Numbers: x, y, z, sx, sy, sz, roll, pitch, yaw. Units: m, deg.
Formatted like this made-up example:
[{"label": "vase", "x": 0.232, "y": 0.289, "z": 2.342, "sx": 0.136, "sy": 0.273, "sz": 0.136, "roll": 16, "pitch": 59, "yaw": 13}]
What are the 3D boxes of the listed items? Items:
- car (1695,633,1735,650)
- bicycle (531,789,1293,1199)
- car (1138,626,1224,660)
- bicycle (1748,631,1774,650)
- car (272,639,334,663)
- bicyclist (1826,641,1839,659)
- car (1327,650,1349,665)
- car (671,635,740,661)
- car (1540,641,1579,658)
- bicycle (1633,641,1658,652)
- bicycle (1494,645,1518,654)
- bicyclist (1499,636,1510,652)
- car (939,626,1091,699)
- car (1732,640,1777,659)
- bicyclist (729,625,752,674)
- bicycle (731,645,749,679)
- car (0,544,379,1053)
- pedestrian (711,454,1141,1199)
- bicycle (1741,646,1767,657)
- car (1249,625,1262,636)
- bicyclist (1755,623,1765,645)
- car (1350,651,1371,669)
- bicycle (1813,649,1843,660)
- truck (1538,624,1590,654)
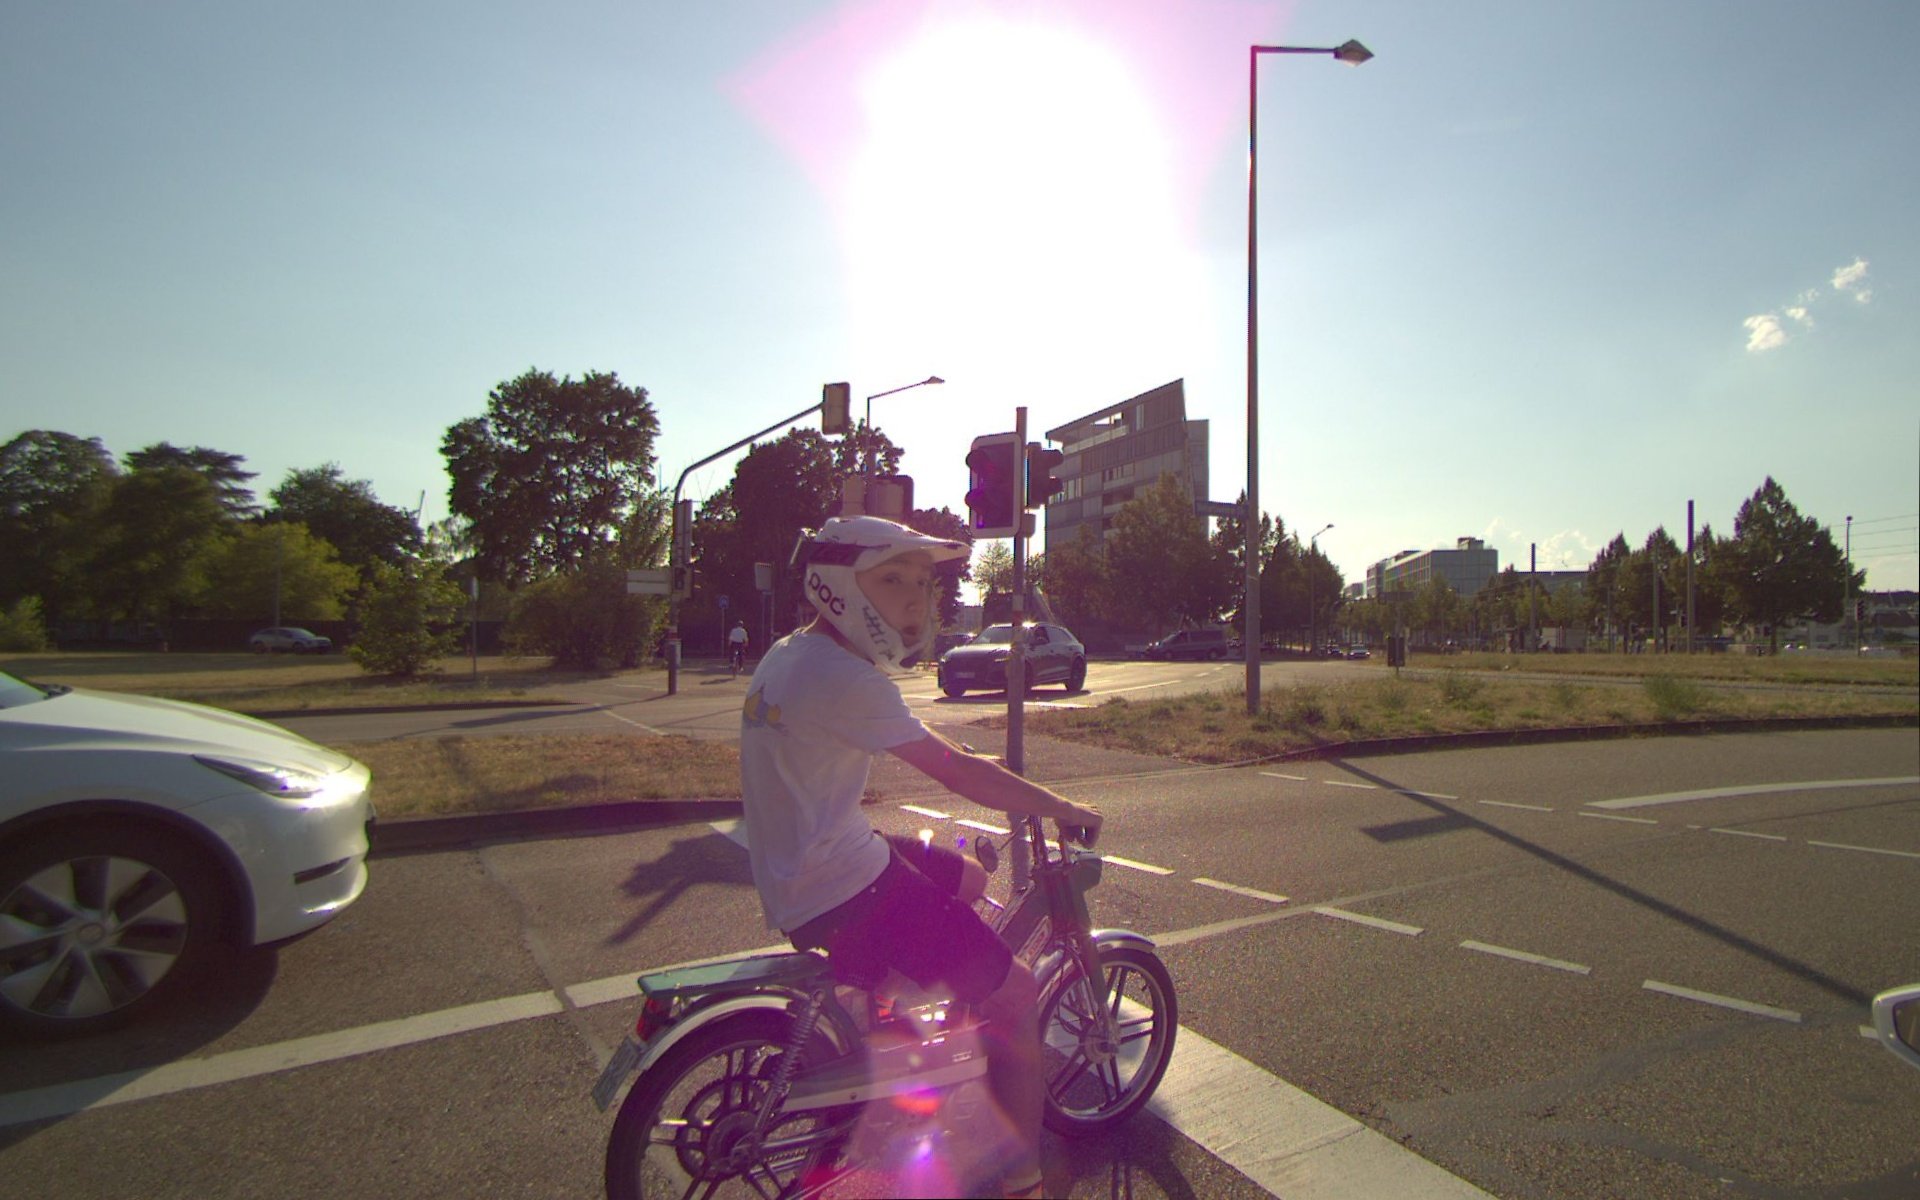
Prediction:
[{"label": "car", "x": 89.494, "y": 4.902, "z": 119.128, "sx": 1.960, "sy": 2.040, "sz": 4.002, "roll": 0, "pitch": -2, "yaw": 5}, {"label": "bicycle", "x": -0.015, "y": 1.004, "z": 2.429, "sx": 1.834, "sy": 0.887, "sz": 0.475, "roll": 1, "pitch": -2, "yaw": -31}, {"label": "car", "x": 13.466, "y": 2.599, "z": 61.363, "sx": 4.737, "sy": 2.040, "sz": 1.995, "roll": 1, "pitch": -2, "yaw": -13}, {"label": "bicycle", "x": 62.393, "y": 3.165, "z": 78.216, "sx": 1.519, "sy": 1.493, "sz": 0.478, "roll": -1, "pitch": -2, "yaw": 36}, {"label": "car", "x": -37.366, "y": 2.873, "z": 57.185, "sx": 2.747, "sy": 1.309, "sz": 1.338, "roll": 0, "pitch": -2, "yaw": 9}, {"label": "bicyclist", "x": 66.335, "y": 3.775, "z": 76.371, "sx": 0.644, "sy": 1.343, "sz": 0.517, "roll": -1, "pitch": -2, "yaw": 37}, {"label": "car", "x": 40.914, "y": 6.205, "z": 108.870, "sx": 1.960, "sy": 1.495, "sz": 4.002, "roll": 0, "pitch": -2, "yaw": 17}, {"label": "car", "x": -14.849, "y": 2.798, "z": 58.626, "sx": 3.554, "sy": 1.457, "sz": 1.583, "roll": 0, "pitch": -2, "yaw": 5}, {"label": "car", "x": 49.172, "y": 4.050, "z": 82.427, "sx": 2.624, "sy": 1.278, "sz": 1.113, "roll": -1, "pitch": -2, "yaw": 24}, {"label": "bicycle", "x": 54.409, "y": 3.697, "z": 79.714, "sx": 1.592, "sy": 0.871, "sz": 0.543, "roll": -1, "pitch": -2, "yaw": 35}, {"label": "bicycle", "x": 45.702, "y": 4.166, "z": 84.126, "sx": 1.687, "sy": 0.754, "sz": 0.481, "roll": 0, "pitch": -2, "yaw": 17}, {"label": "bicyclist", "x": 45.634, "y": 3.674, "z": 84.188, "sx": 0.641, "sy": 1.343, "sz": 0.519, "roll": 0, "pitch": -1, "yaw": 17}, {"label": "car", "x": 1.415, "y": 1.408, "z": 23.552, "sx": 1.624, "sy": 1.532, "sz": 4.635, "roll": -2, "pitch": -3, "yaw": 30}, {"label": "car", "x": 87.677, "y": 5.443, "z": 110.875, "sx": 1.960, "sy": 2.040, "sz": 4.002, "roll": 0, "pitch": -2, "yaw": 5}, {"label": "bicyclist", "x": -7.119, "y": 1.614, "z": 32.612, "sx": 0.629, "sy": 1.576, "sz": 0.630, "roll": 0, "pitch": -1, "yaw": -4}, {"label": "bicycle", "x": -7.149, "y": 2.007, "z": 32.610, "sx": 0.360, "sy": 1.046, "sz": 1.439, "roll": 0, "pitch": -2, "yaw": -4}, {"label": "car", "x": -4.585, "y": 0.603, "z": 3.177, "sx": 4.630, "sy": 1.620, "sz": 1.724, "roll": 2, "pitch": -1, "yaw": -35}, {"label": "pedestrian", "x": -0.094, "y": 0.498, "z": 2.456, "sx": 0.844, "sy": 1.539, "sz": 0.653, "roll": 1, "pitch": -2, "yaw": -30}, {"label": "bicycle", "x": 62.598, "y": 4.078, "z": 79.199, "sx": 1.592, "sy": 0.871, "sz": 0.543, "roll": -1, "pitch": -2, "yaw": 35}, {"label": "car", "x": 47.064, "y": 4.847, "z": 160.037, "sx": 1.753, "sy": 1.576, "sz": 4.002, "roll": 2, "pitch": 0, "yaw": 14}, {"label": "bicyclist", "x": 62.336, "y": 2.615, "z": 78.270, "sx": 0.598, "sy": 1.694, "sz": 0.476, "roll": 0, "pitch": -2, "yaw": 36}, {"label": "car", "x": 36.602, "y": 5.457, "z": 91.865, "sx": 1.455, "sy": 1.495, "sz": 3.301, "roll": 0, "pitch": -2, "yaw": 17}, {"label": "bicycle", "x": 66.121, "y": 4.148, "z": 76.511, "sx": 1.694, "sy": 0.754, "sz": 0.479, "roll": -1, "pitch": -2, "yaw": 37}, {"label": "truck", "x": 67.612, "y": 4.384, "z": 112.642, "sx": 3.074, "sy": 3.273, "sz": 7.178, "roll": 0, "pitch": -2, "yaw": 14}]
